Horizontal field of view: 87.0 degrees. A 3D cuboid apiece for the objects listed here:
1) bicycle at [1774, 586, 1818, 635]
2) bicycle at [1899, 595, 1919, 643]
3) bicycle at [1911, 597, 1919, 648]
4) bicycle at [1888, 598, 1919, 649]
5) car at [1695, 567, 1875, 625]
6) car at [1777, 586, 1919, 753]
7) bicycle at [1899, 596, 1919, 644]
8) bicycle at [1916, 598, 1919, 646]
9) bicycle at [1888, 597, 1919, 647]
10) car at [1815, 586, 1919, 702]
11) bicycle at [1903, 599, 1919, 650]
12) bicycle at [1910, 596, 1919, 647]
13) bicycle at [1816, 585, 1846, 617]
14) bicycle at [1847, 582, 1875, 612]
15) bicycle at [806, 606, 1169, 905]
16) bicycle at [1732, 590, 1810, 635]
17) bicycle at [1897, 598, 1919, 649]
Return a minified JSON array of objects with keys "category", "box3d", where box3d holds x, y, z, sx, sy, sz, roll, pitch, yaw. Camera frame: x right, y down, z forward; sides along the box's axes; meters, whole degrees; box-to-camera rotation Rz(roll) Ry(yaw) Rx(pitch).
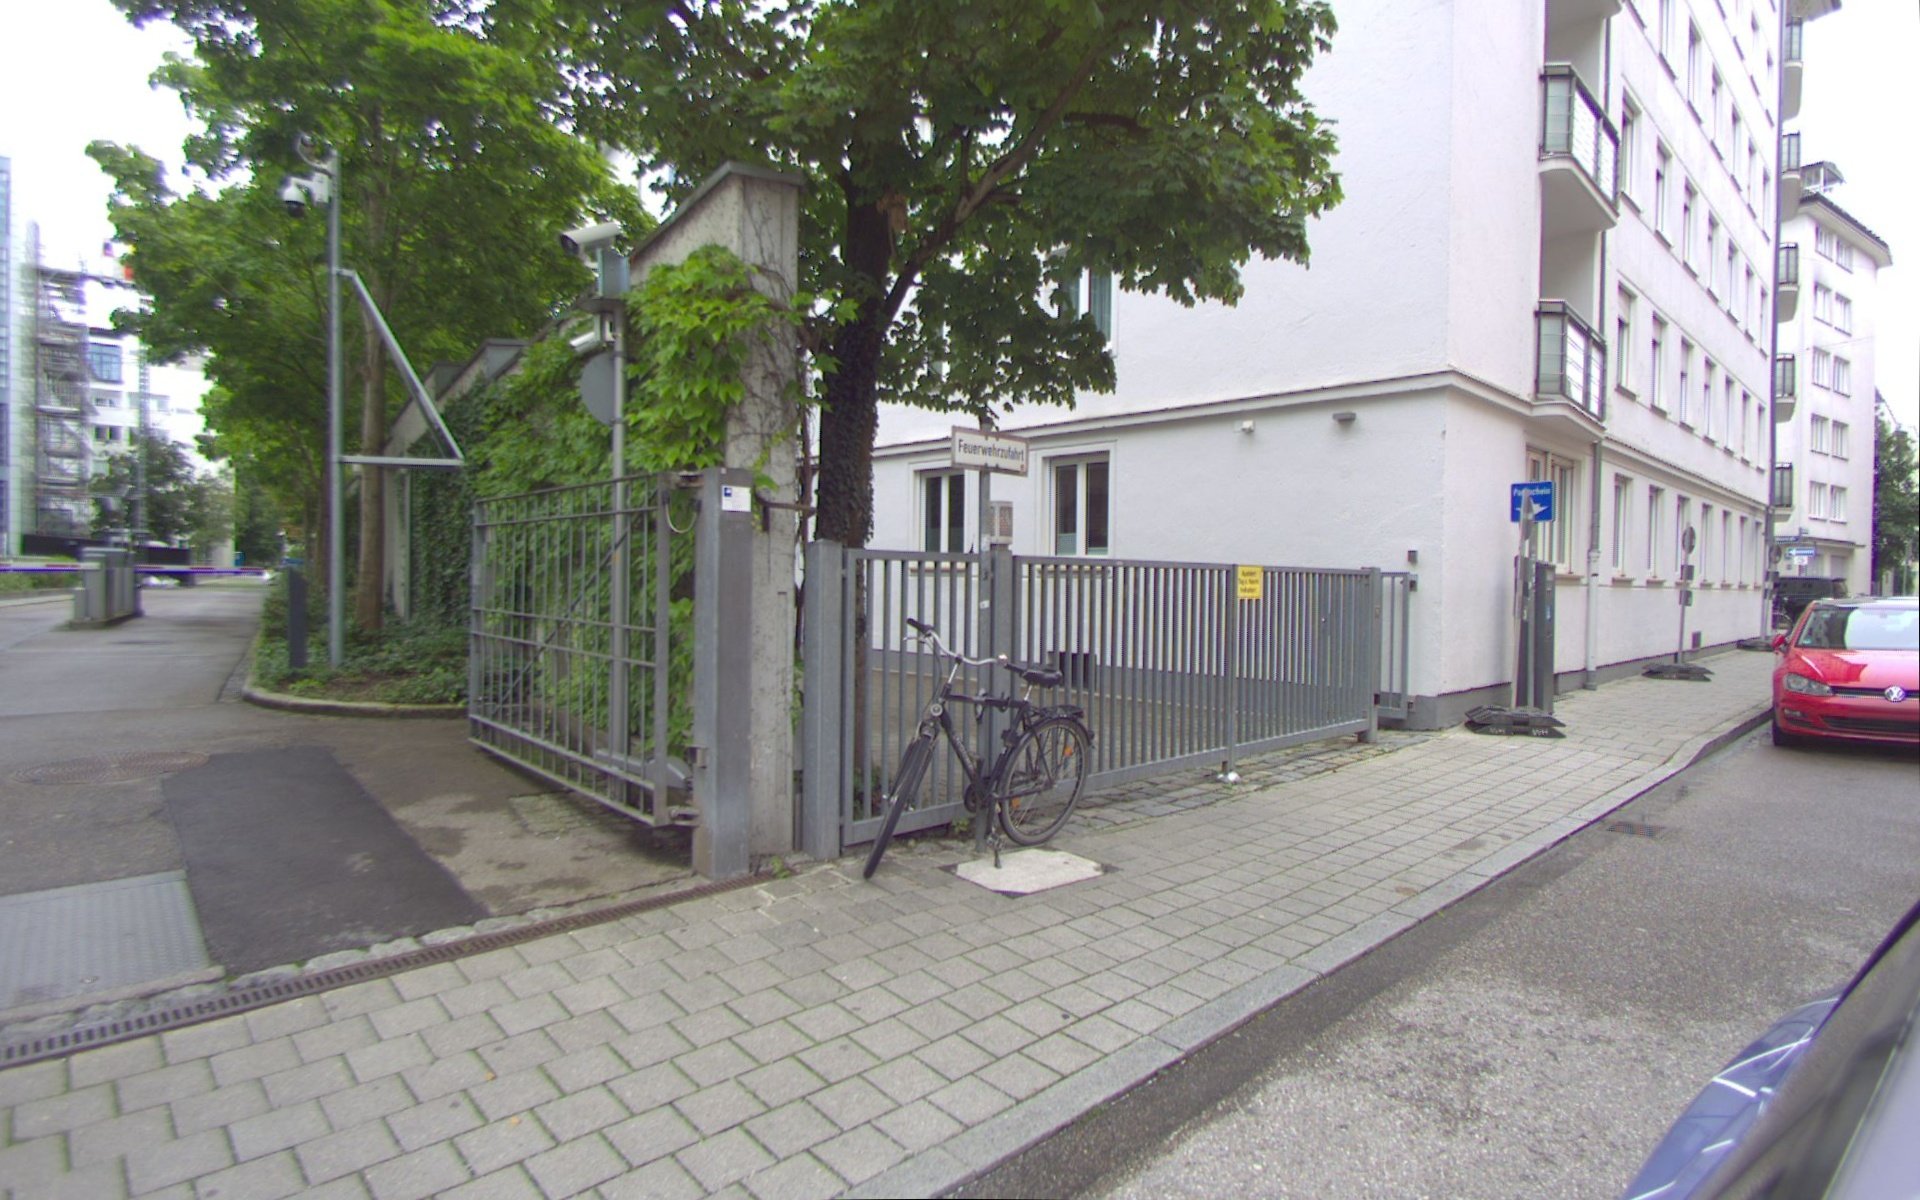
[{"category":"bicycle","box3d":[22.557,0.264,27.316,0.394,1.219,1.496,3,3,21]},{"category":"bicycle","box3d":[24.121,0.485,24.728,0.308,1.175,1.696,0,1,-44]},{"category":"bicycle","box3d":[22.882,0.532,23.078,0.372,1.175,1.696,0,1,-44]},{"category":"bicycle","box3d":[20.879,0.533,21.537,0.317,1.056,1.593,0,3,-35]},{"category":"car","box3d":[29.509,-0.184,36.348,1.897,1.914,4.683,1,1,-35]},{"category":"car","box3d":[9.742,0.594,10.597,1.758,1.465,4.236,-1,0,40]},{"category":"bicycle","box3d":[23.895,0.509,24.496,0.308,1.175,1.696,0,1,-44]},{"category":"bicycle","box3d":[21.743,0.538,21.891,0.353,1.056,1.444,0,3,-35]},{"category":"bicycle","box3d":[21.227,0.521,21.957,0.353,1.056,1.523,0,3,-35]},{"category":"car","box3d":[13.497,0.526,14.186,4.309,1.457,1.796,-1,0,-43]},{"category":"bicycle","box3d":[20.524,0.556,20.724,0.354,1.056,1.705,-1,4,-43]},{"category":"bicycle","box3d":[23.135,0.525,23.381,0.372,1.175,1.696,0,1,-44]},{"category":"bicycle","box3d":[34.195,0.030,39.739,1.579,1.229,0.529,0,1,-36]},{"category":"bicycle","box3d":[37.463,-0.120,42.059,1.579,1.229,0.529,0,1,-36]},{"category":"bicycle","box3d":[0.204,0.681,5.066,1.802,1.213,0.708,4,-1,-44]},{"category":"bicycle","box3d":[21.038,0.307,26.278,1.488,1.056,0.395,3,3,29]},{"category":"bicycle","box3d":[20.682,0.540,21.225,0.324,1.056,1.441,0,3,-35]}]
